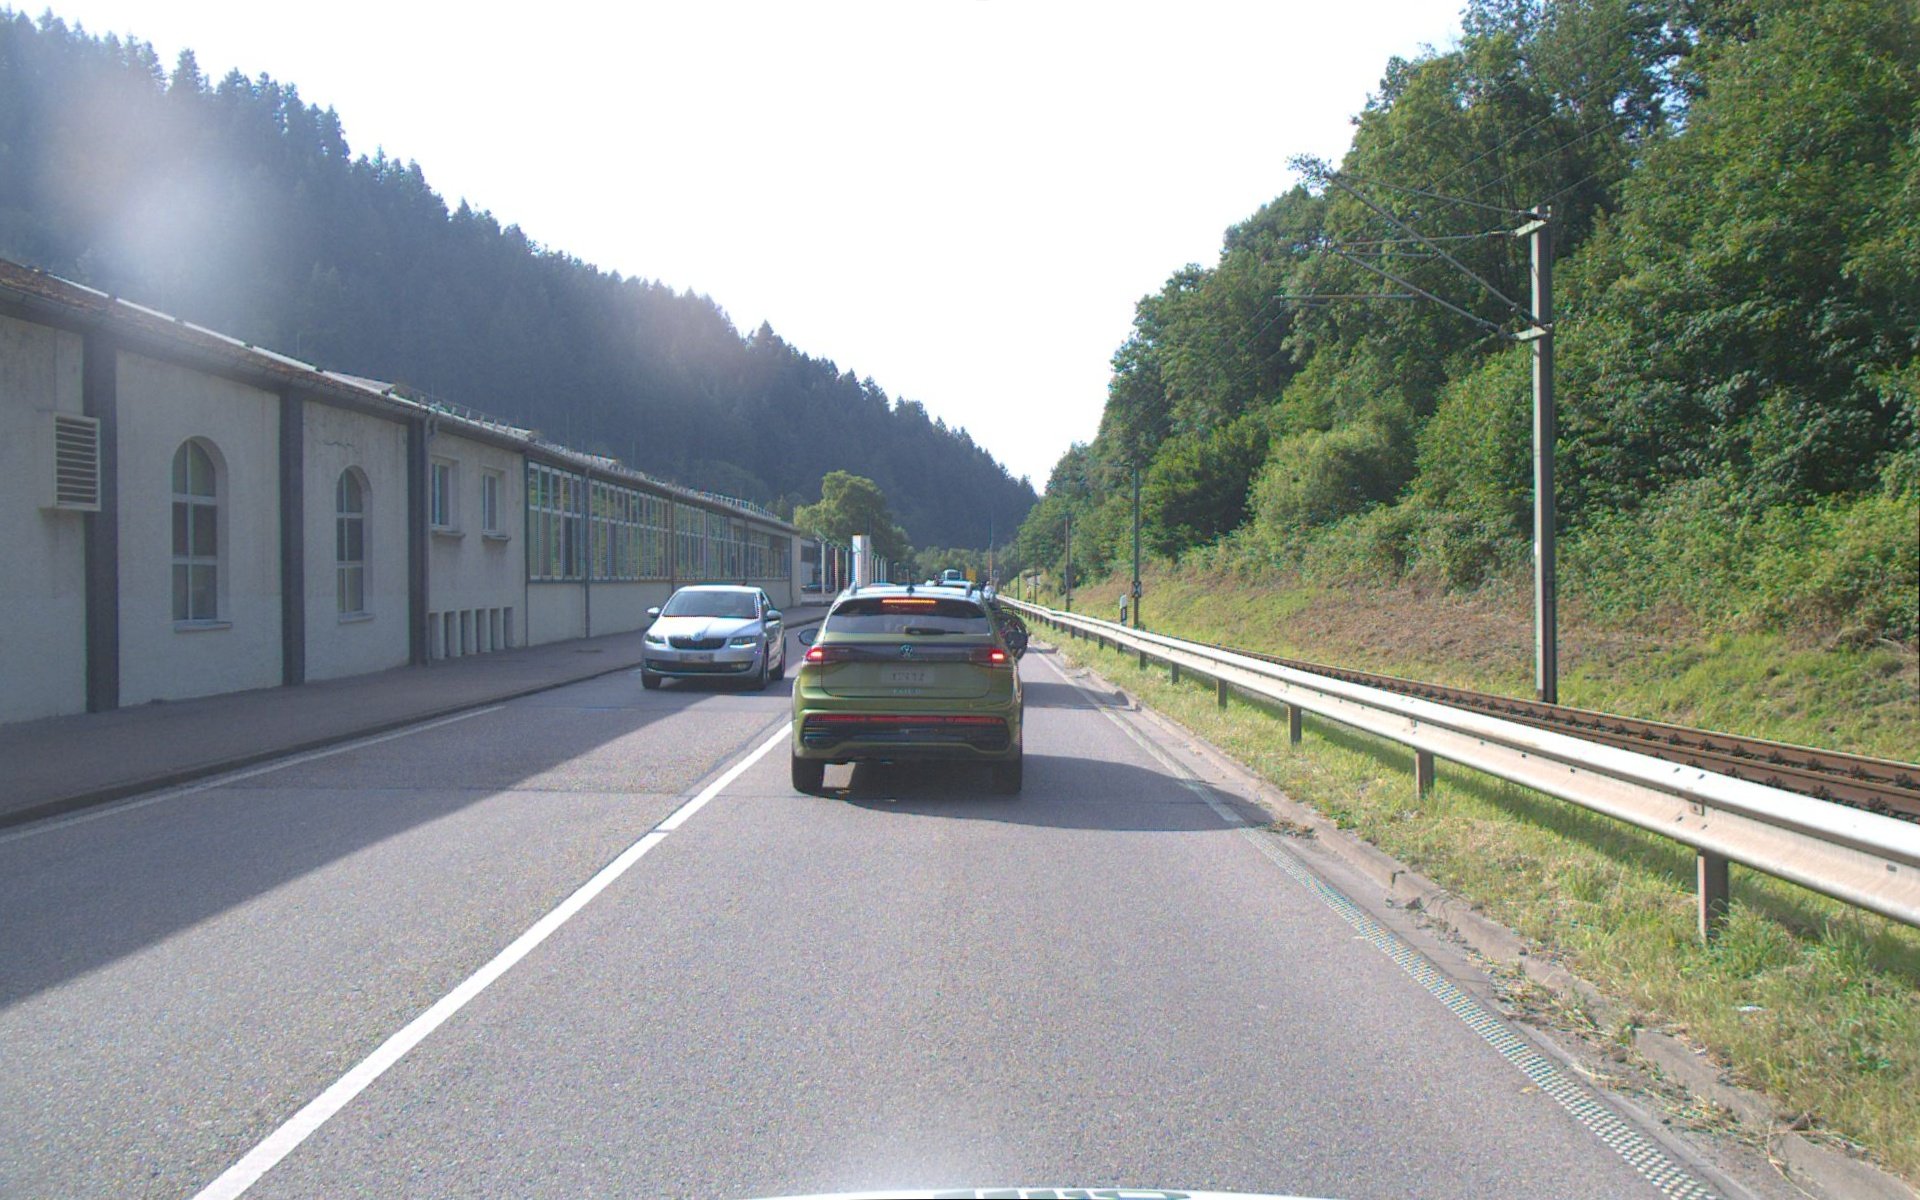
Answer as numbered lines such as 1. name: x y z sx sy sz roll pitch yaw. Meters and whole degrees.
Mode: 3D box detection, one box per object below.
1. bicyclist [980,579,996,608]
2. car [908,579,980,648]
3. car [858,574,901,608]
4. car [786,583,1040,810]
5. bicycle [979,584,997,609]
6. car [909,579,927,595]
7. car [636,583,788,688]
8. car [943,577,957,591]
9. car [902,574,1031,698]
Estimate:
1. bicyclist: 1.399 -0.344 83.464 0.766 1.436 0.675 0 0 -2
2. car: -0.411 0.311 41.534 1.704 1.630 3.999 1 0 -1
3. car: -4.012 -0.450 83.042 1.890 1.609 4.458 2 0 0
4. car: -0.355 0.636 13.190 1.704 1.534 3.999 0 0 -1
5. bicycle: 1.396 -0.183 83.530 0.795 1.272 2.122 0 0 -2
6. car: -4.186 -1.344 165.955 1.684 1.540 4.198 1 1 -1
7. car: -3.587 0.466 24.549 1.704 1.417 4.108 1 0 -1
8. car: -1.473 -2.360 246.434 1.953 2.049 3.999 1 0 -1
9. car: 0.049 0.457 23.968 1.704 1.630 3.999 1 0 -1
